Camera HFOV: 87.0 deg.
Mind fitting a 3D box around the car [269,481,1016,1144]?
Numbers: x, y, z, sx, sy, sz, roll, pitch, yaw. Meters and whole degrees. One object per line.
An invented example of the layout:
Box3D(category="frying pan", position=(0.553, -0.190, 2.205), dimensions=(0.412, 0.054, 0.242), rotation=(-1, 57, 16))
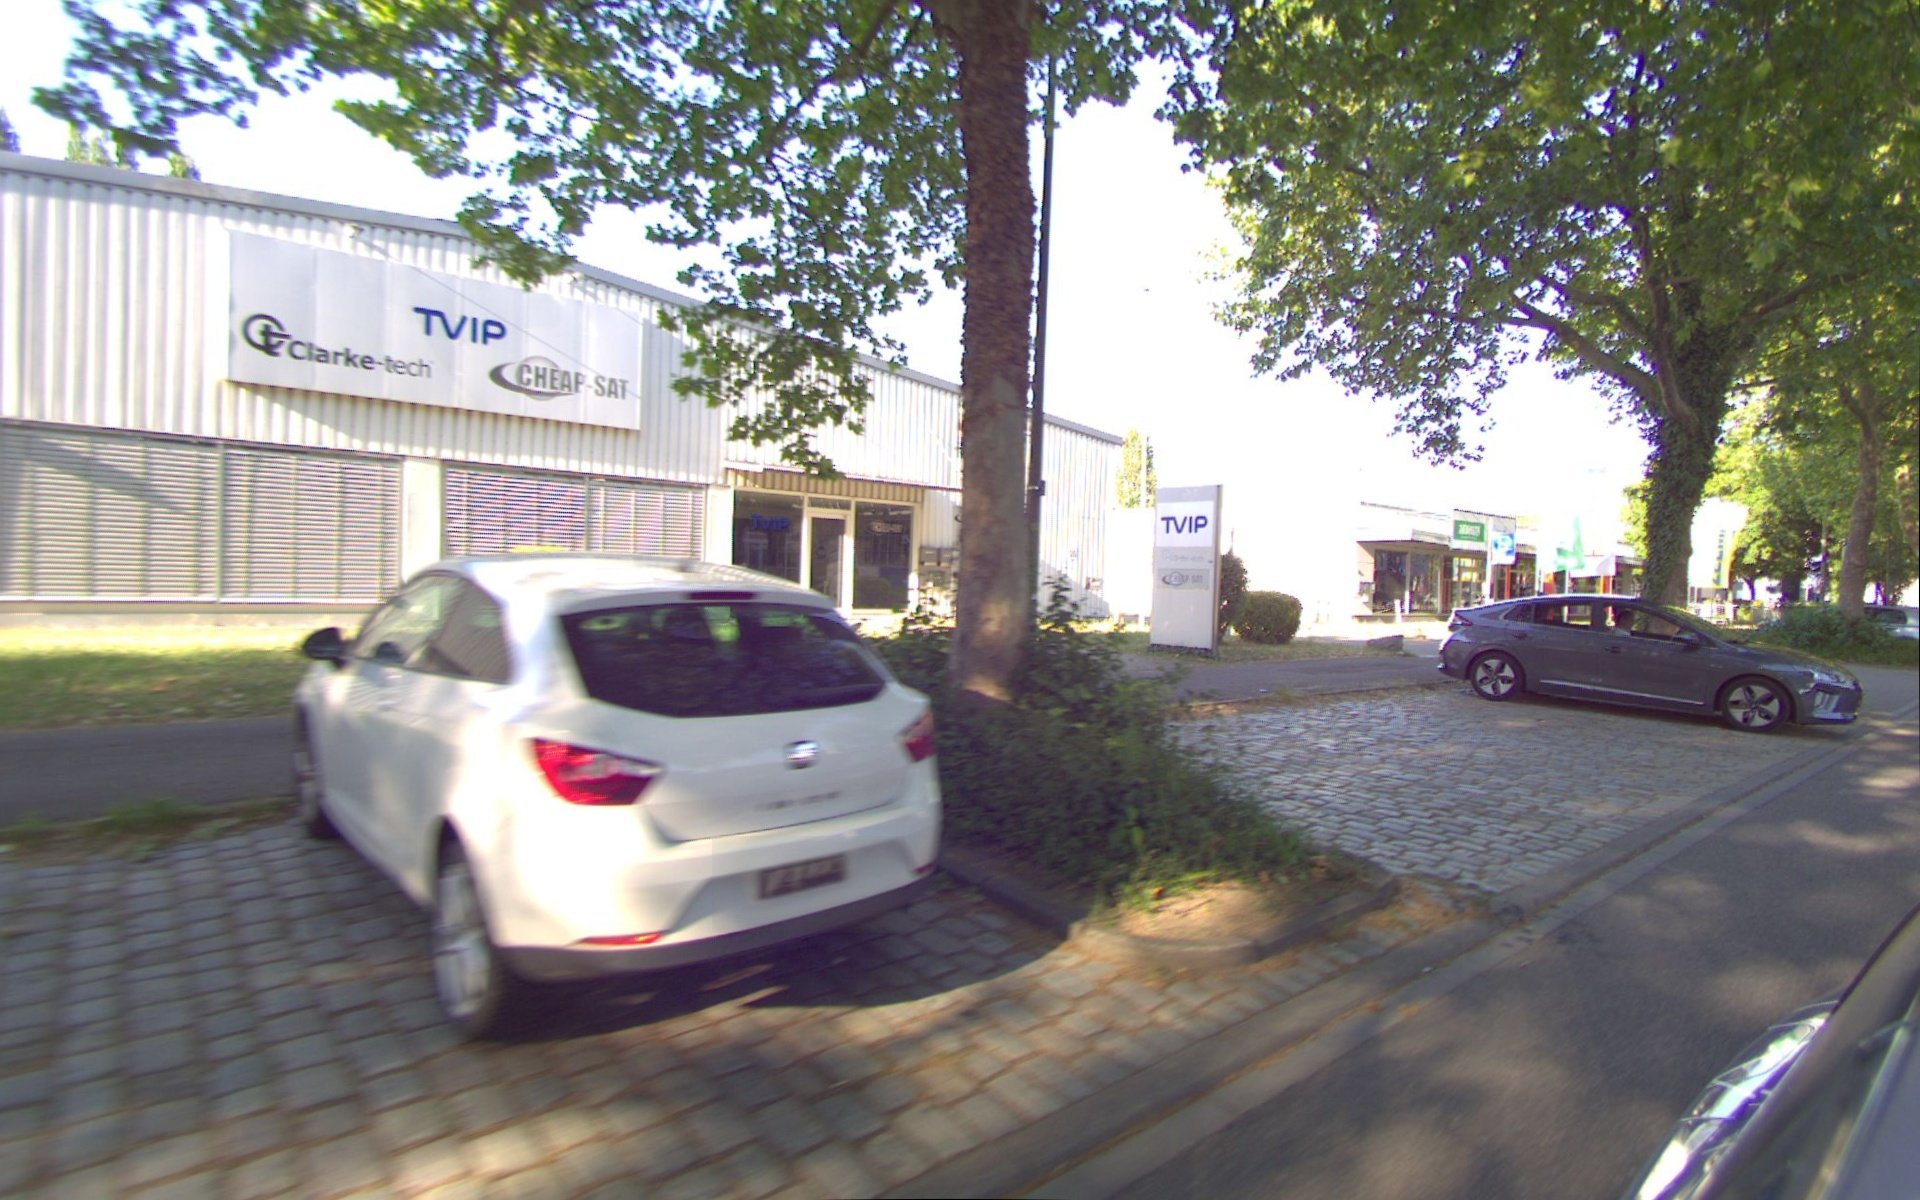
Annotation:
Box3D(category="car", position=(-1.730, 0.355, 4.350), dimensions=(1.638, 1.531, 3.943), rotation=(0, 4, -41))

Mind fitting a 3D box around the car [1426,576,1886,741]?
Box3D(category="car", position=(8.479, 0.554, 12.616), dimensions=(4.396, 1.435, 1.968), rotation=(6, 5, 45))

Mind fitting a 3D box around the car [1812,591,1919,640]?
Box3D(category="car", position=(32.387, 0.568, 35.002), dimensions=(4.290, 1.435, 1.968), rotation=(6, 5, 45))
